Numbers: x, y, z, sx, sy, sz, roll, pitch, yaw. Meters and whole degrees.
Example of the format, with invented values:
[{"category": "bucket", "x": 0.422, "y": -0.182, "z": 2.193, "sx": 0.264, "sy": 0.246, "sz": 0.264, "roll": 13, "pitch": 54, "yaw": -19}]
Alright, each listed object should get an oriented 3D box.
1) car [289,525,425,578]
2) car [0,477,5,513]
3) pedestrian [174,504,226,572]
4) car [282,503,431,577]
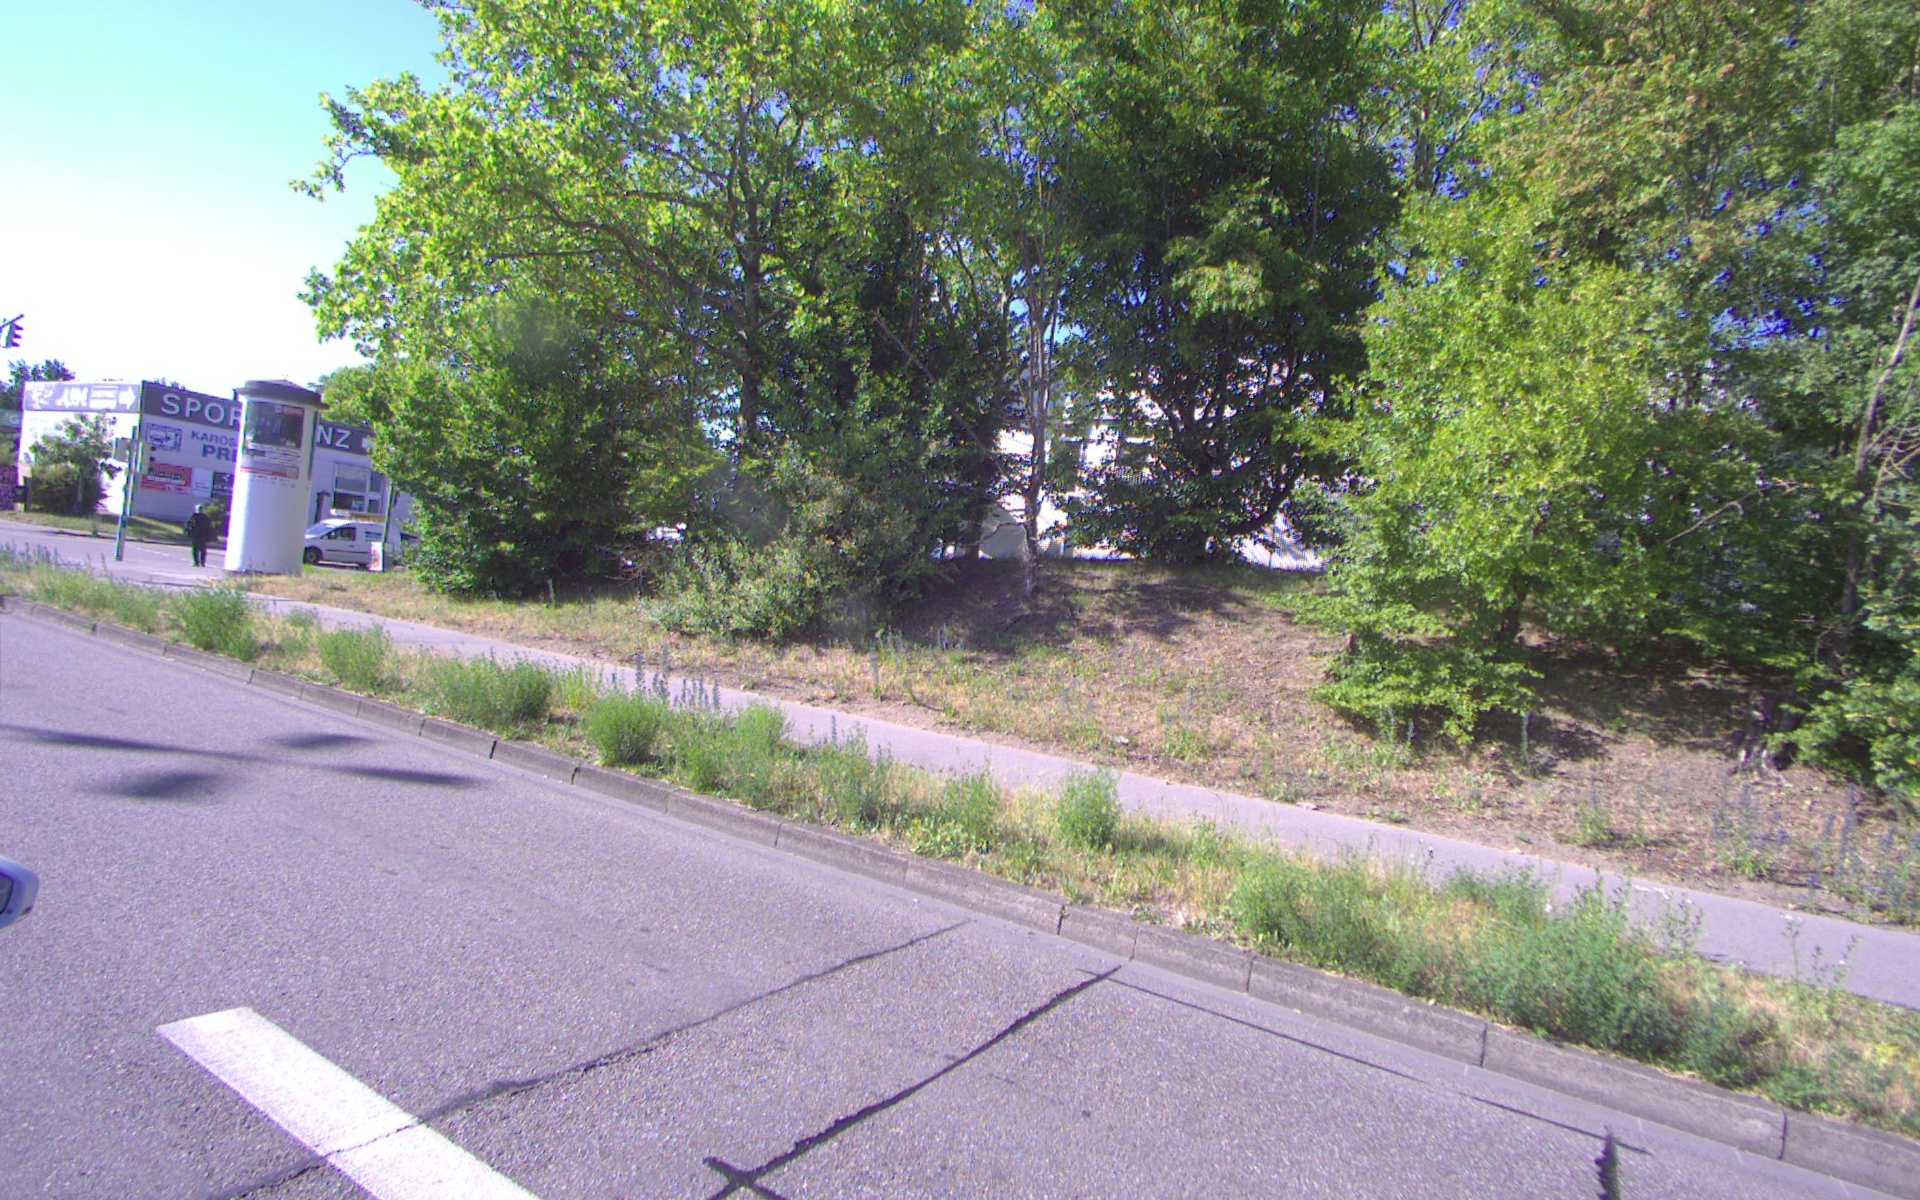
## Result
[{"category": "car", "x": -25.277, "y": -1.997, "z": 42.313, "sx": 1.965, "sy": 1.571, "sz": 4.415, "roll": 7, "pitch": -1, "yaw": 28}, {"category": "car", "x": -48.288, "y": -5.346, "z": 47.677, "sx": 1.663, "sy": 1.726, "sz": 4.003, "roll": 7, "pitch": -1, "yaw": 16}, {"category": "pedestrian", "x": -21.148, "y": -1.715, "z": 27.984, "sx": 0.841, "sy": 1.743, "sz": 0.822, "roll": 7, "pitch": 0, "yaw": 39}, {"category": "car", "x": -23.388, "y": -2.289, "z": 39.168, "sx": 1.965, "sy": 2.171, "sz": 4.415, "roll": 7, "pitch": -1, "yaw": 28}]
